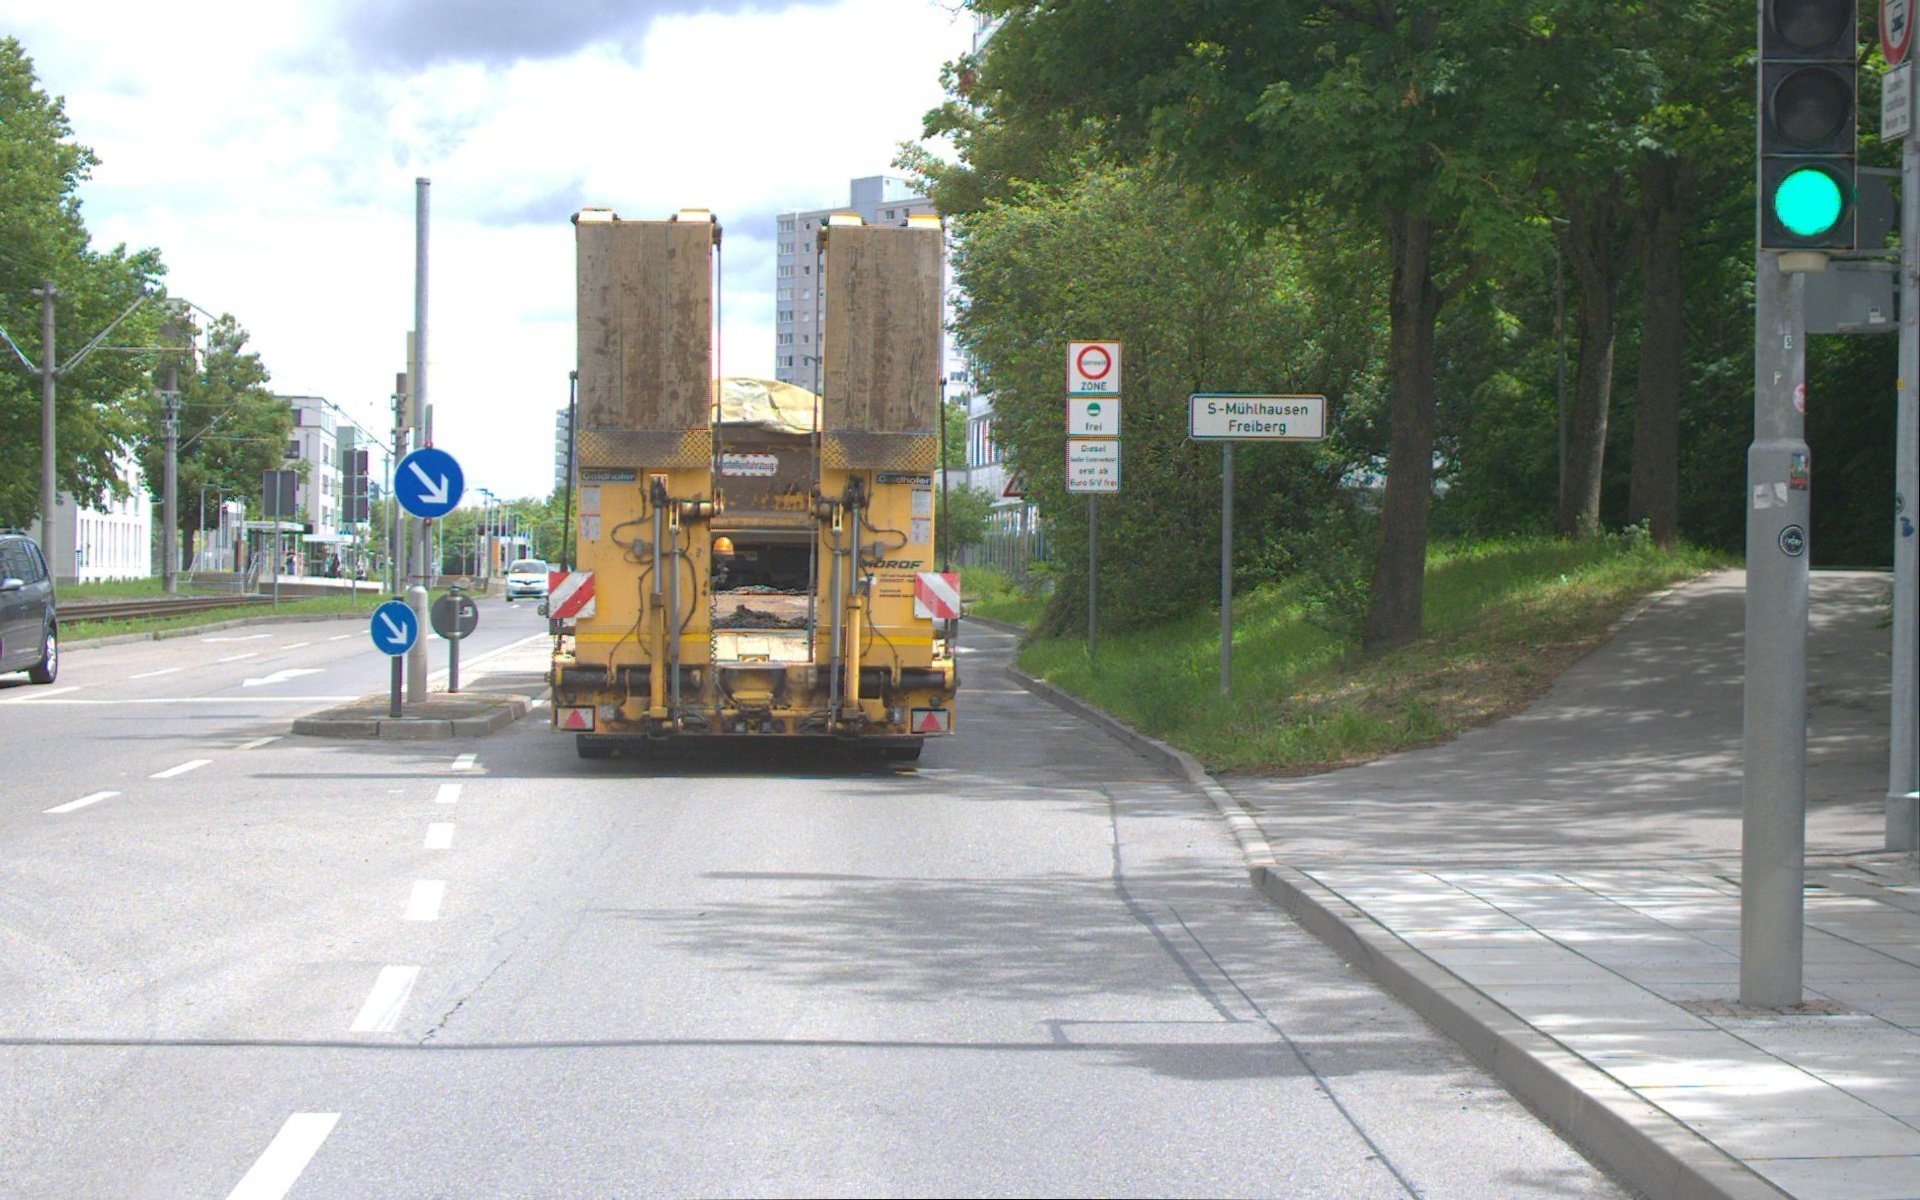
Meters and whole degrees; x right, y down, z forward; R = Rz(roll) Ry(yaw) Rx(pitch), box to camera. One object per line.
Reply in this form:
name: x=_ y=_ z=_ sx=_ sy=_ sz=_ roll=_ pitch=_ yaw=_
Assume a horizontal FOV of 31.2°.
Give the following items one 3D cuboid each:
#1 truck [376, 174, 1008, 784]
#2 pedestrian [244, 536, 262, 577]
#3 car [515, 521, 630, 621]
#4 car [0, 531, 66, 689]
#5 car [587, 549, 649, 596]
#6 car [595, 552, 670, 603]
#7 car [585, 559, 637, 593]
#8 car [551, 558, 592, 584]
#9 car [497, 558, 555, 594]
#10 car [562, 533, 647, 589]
truck: x=-1.575 y=-0.822 z=27.476 sx=3.316 sy=3.638 sz=12.561 roll=2 pitch=1 yaw=3
pedestrian: x=-35.518 y=-2.194 z=172.684 sx=0.652 sy=2.007 sz=0.653 roll=3 pitch=1 yaw=3
car: x=-7.935 y=-0.613 z=70.711 sx=1.993 sy=1.919 sz=4.000 roll=3 pitch=1 yaw=-2
car: x=-10.423 y=0.074 z=34.885 sx=1.783 sy=1.564 sz=4.345 roll=1 pitch=1 yaw=-3
car: x=-12.733 y=-1.046 z=128.347 sx=1.993 sy=1.612 sz=4.000 roll=3 pitch=1 yaw=-2
car: x=-9.862 y=-0.685 z=103.777 sx=1.993 sy=1.415 sz=4.000 roll=3 pitch=1 yaw=-2
car: x=-13.438 y=-0.934 z=132.585 sx=1.783 sy=1.267 sz=4.345 roll=1 pitch=1 yaw=-3
car: x=-18.911 y=-1.418 z=167.470 sx=1.783 sy=1.267 sz=4.346 roll=1 pitch=1 yaw=-5
car: x=-16.019 y=-0.892 z=127.040 sx=1.783 sy=1.267 sz=4.345 roll=1 pitch=1 yaw=-3
car: x=-9.666 y=-1.067 z=93.774 sx=1.993 sy=1.415 sz=4.000 roll=3 pitch=1 yaw=-2
